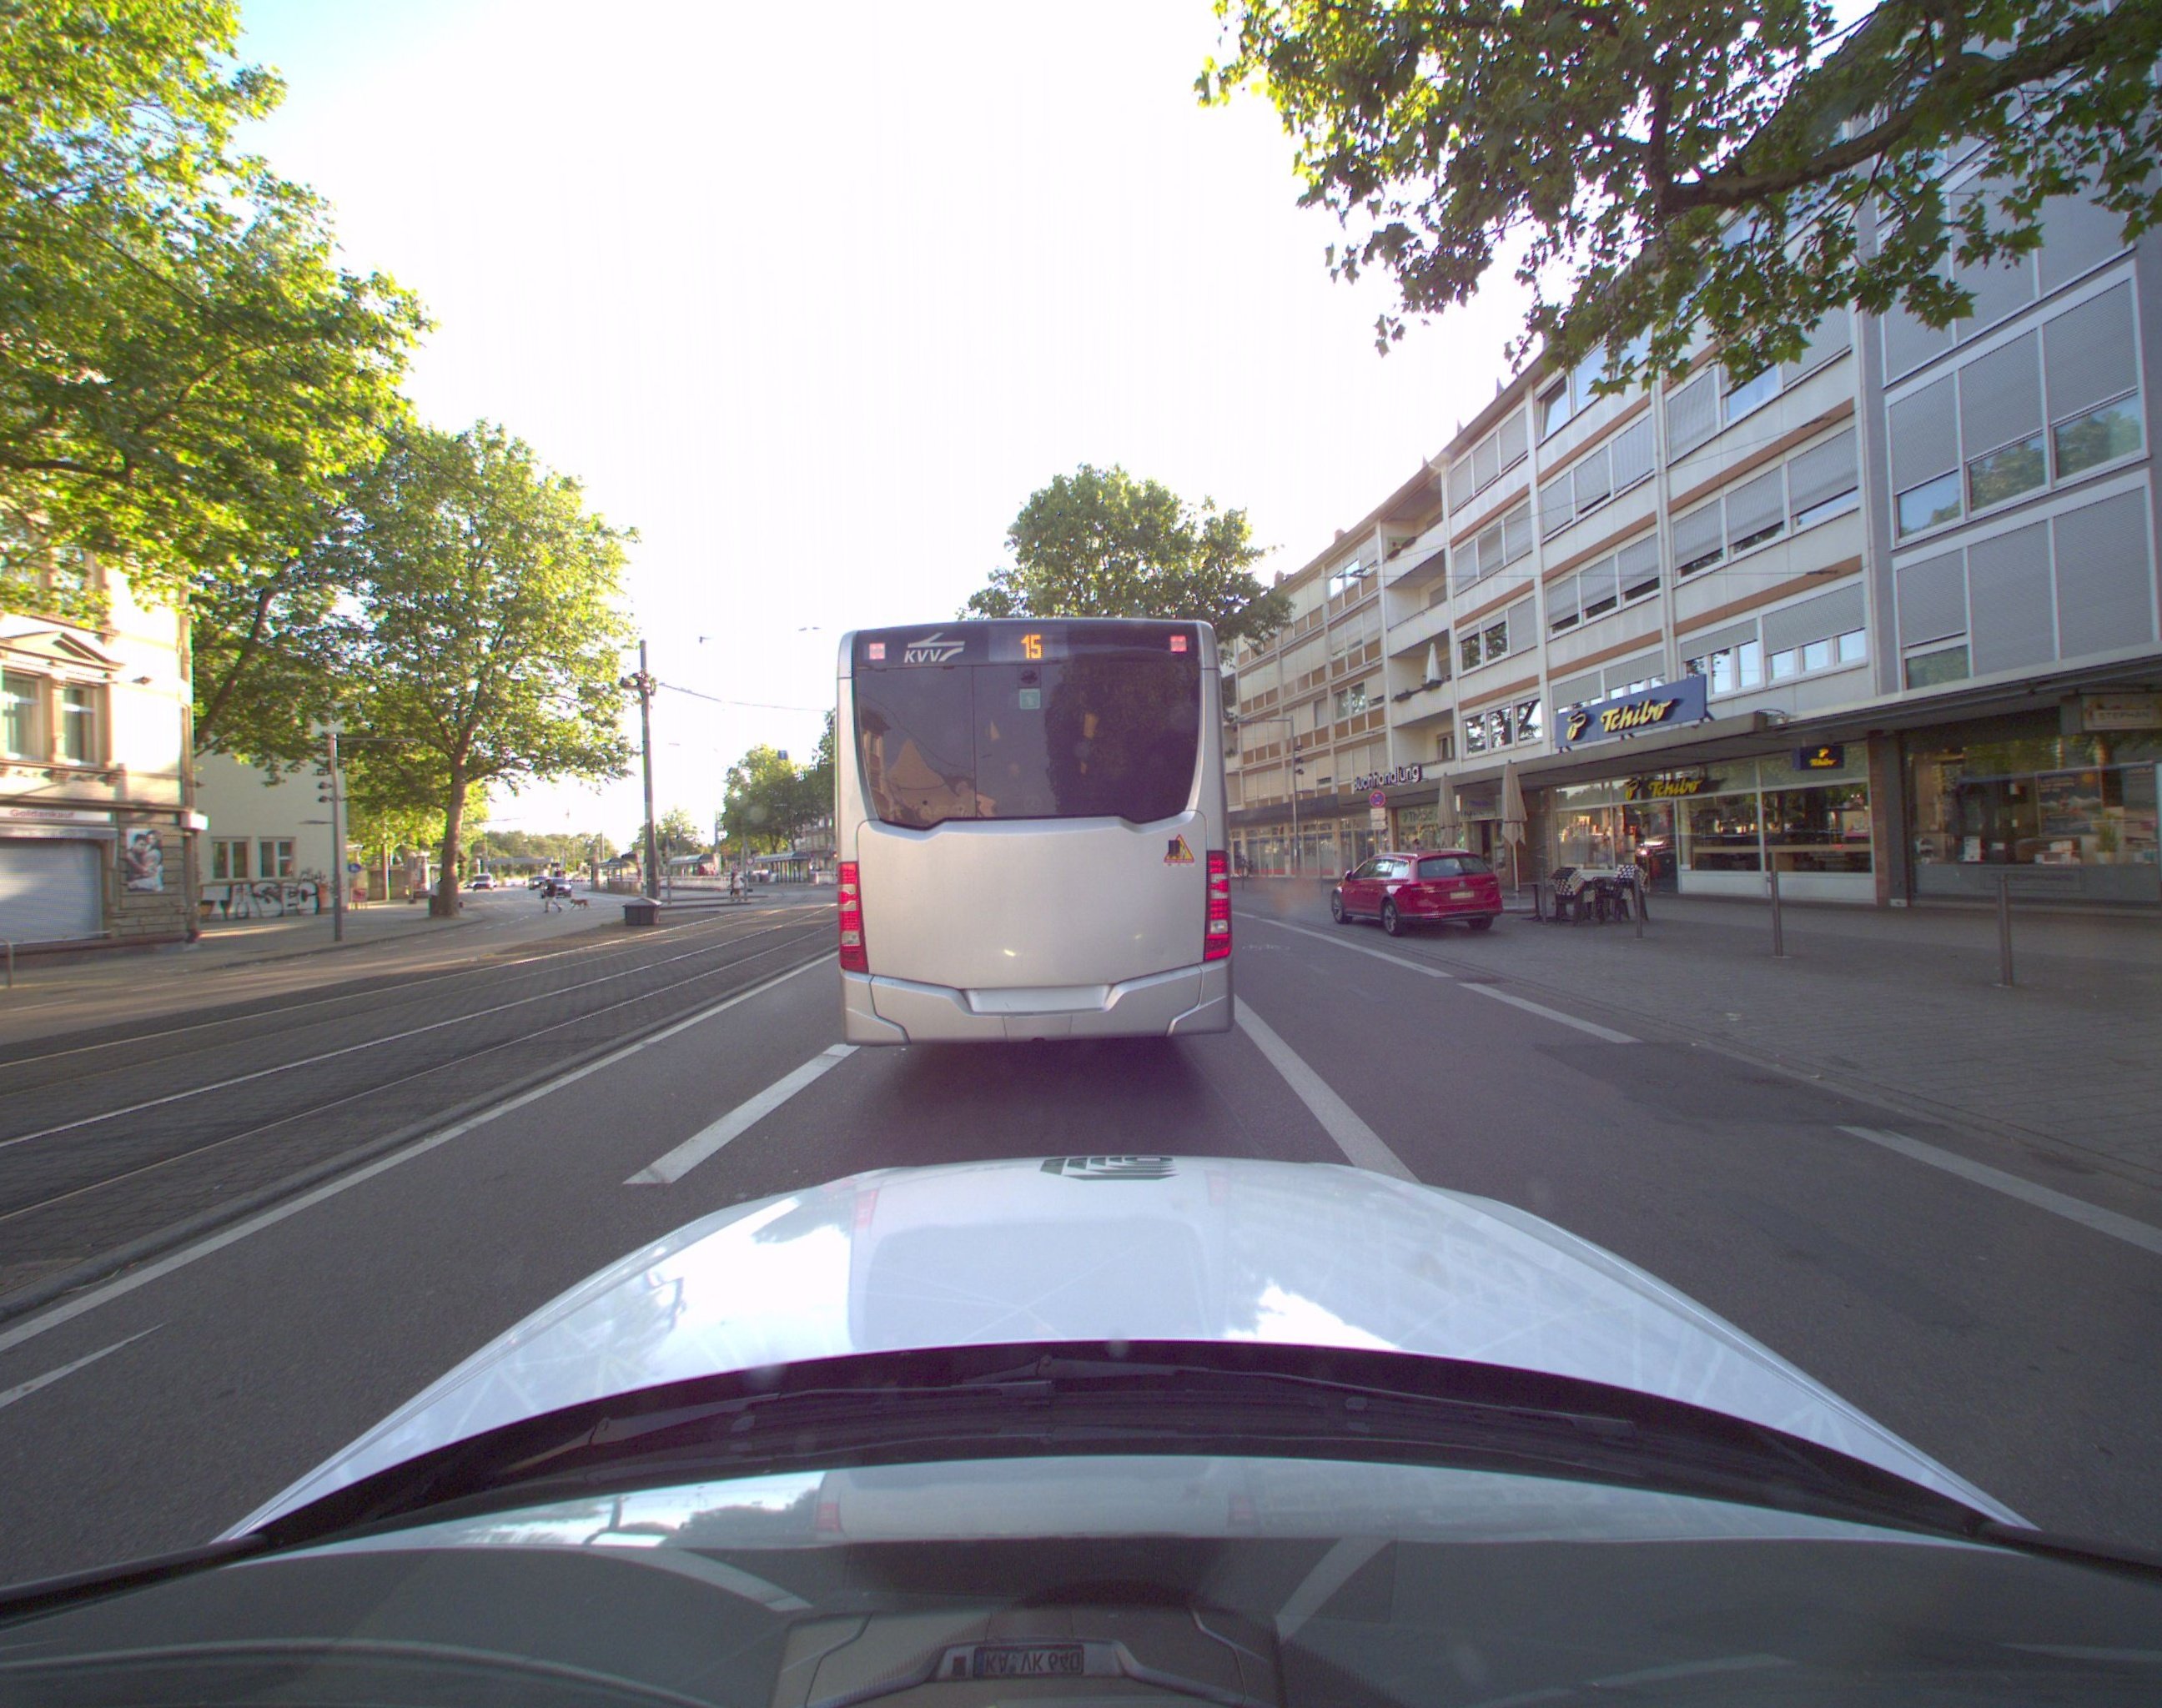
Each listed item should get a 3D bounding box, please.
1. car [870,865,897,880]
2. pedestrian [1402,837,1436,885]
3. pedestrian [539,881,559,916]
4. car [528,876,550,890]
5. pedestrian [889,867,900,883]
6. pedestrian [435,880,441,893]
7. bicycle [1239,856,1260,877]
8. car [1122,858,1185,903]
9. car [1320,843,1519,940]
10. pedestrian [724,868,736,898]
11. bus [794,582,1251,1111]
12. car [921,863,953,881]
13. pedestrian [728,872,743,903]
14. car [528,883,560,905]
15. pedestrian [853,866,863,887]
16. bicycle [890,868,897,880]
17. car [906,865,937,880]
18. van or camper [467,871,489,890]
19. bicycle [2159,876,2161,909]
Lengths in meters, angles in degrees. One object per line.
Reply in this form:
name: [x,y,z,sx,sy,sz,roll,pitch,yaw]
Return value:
car: [-21.530,2.044,88.710,1.675,1.468,3.375,-6,2,-36]
pedestrian: [11.200,0.244,27.030,0.640,1.552,0.804,-2,-1,-13]
pedestrian: [-26.427,2.194,40.455,0.426,1.710,0.681,-1,-1,33]
car: [-64.167,3.418,96.398,1.901,1.585,4.160,-2,-1,-37]
pedestrian: [-15.484,1.774,67.653,0.779,1.303,0.590,-2,-1,-19]
pedestrian: [-74.747,3.812,94.688,0.519,1.504,0.552,-2,-1,-36]
bicycle: [9.365,0.692,45.363,0.438,1.092,1.453,-5,0,-18]
car: [2.516,0.894,29.089,1.798,1.474,4.069,-1,-1,-1]
car: [6.356,0.637,15.945,1.774,1.496,4.563,-4,0,-2]
pedestrian: [-17.665,1.445,41.009,0.408,1.504,0.516,-2,-1,-8]
bus: [-0.343,-0.002,10.033,2.649,3.099,10.214,-2,-1,0]
car: [-13.828,1.728,78.118,1.675,1.516,3.376,-6,2,-35]
pedestrian: [-17.186,1.645,40.536,0.520,1.504,0.591,-2,-1,-12]
car: [-40.472,2.957,61.291,1.900,1.472,4.161,-2,-1,-35]
pedestrian: [-18.711,1.862,68.388,0.719,1.725,0.398,-2,-1,-8]
bicycle: [-19.700,2.100,85.564,0.508,1.211,2.079,-2,0,-19]
car: [-15.995,1.853,81.515,1.675,1.394,3.374,-6,2,-37]
van or camper: [-79.560,3.510,107.446,2.185,2.319,5.045,-2,-1,-38]
bicycle: [8.713,0.668,5.500,0.294,1.040,1.711,-5,0,-12]
